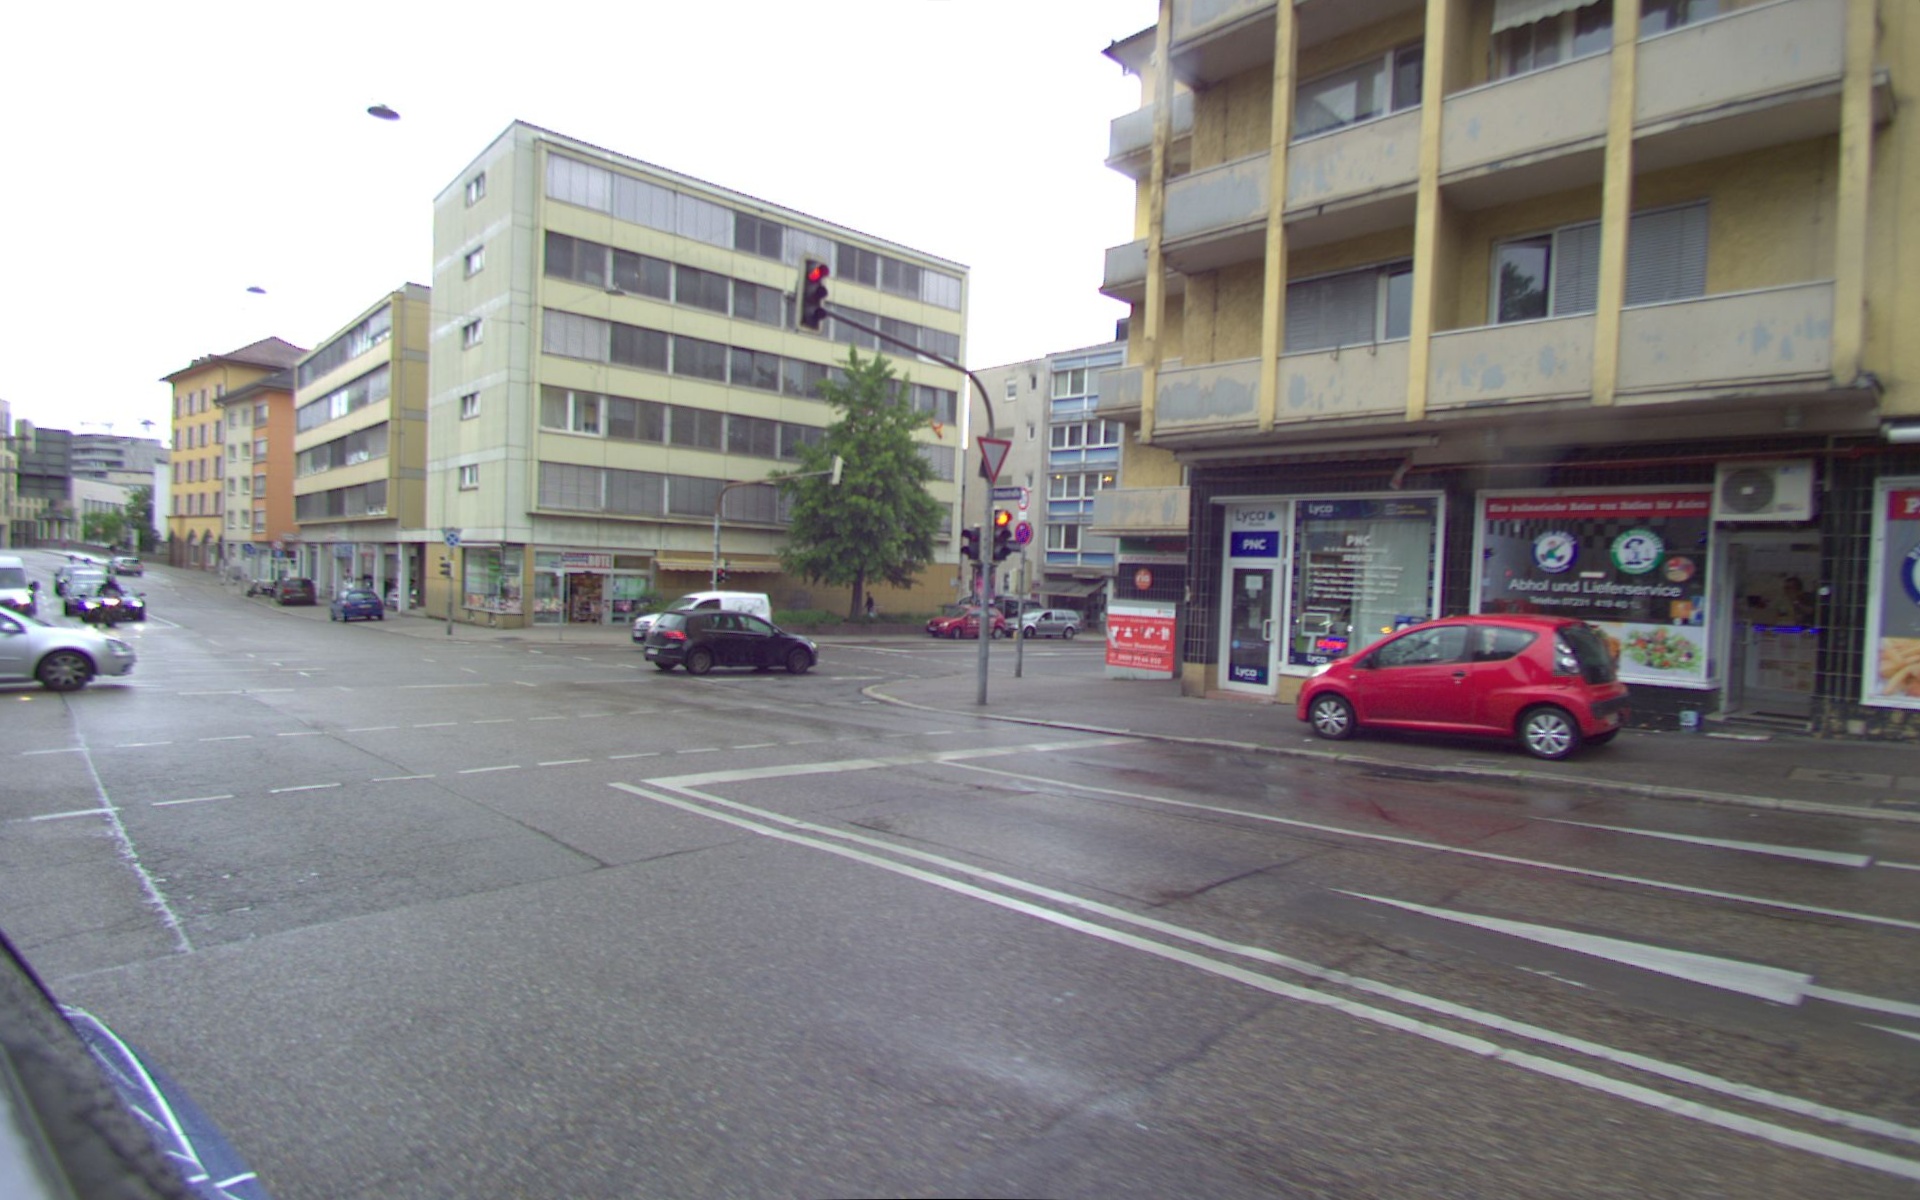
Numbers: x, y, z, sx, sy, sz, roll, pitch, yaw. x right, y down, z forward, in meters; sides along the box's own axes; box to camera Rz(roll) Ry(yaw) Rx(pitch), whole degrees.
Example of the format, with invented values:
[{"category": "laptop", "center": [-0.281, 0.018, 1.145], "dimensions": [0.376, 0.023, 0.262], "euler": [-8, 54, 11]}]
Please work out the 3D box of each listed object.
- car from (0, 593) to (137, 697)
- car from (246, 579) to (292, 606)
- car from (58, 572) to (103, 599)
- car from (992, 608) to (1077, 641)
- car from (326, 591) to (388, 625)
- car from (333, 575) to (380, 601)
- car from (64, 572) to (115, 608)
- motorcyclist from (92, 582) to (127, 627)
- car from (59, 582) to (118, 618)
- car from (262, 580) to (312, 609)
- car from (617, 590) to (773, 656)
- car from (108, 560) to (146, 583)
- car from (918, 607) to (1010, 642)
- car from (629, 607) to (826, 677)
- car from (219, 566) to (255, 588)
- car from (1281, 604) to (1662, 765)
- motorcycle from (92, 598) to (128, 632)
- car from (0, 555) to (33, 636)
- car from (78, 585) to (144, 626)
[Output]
[{"category": "car", "center": [-14.608, 0.626, 14.714], "dimensions": [3.975, 1.435, 1.690], "euler": [1, 1, -43]}, {"category": "car", "center": [-43.726, -0.478, 64.037], "dimensions": [1.822, 1.578, 4.375], "euler": [-3, 3, -41]}, {"category": "car", "center": [-50.367, -0.852, 57.951], "dimensions": [1.822, 1.430, 3.574], "euler": [-3, 3, -41]}, {"category": "car", "center": [3.609, 1.162, 48.568], "dimensions": [3.828, 1.437, 1.729], "euler": [1, 2, -38]}, {"category": "car", "center": [-27.942, 0.342, 46.860], "dimensions": [1.822, 1.430, 3.574], "euler": [-3, 3, -41]}, {"category": "car", "center": [-39.786, -0.801, 66.695], "dimensions": [1.822, 1.578, 4.374], "euler": [-3, 3, -42]}, {"category": "car", "center": [-43.826, -0.528, 50.935], "dimensions": [1.822, 1.727, 3.574], "euler": [-3, 2, -41]}, {"category": "motorcyclist", "center": [-29.096, 0.147, 34.627], "dimensions": [0.866, 1.490, 0.797], "euler": [1, 0, -42]}, {"category": "car", "center": [-37.743, -0.043, 43.826], "dimensions": [1.822, 1.430, 3.574], "euler": [-3, 3, -41]}, {"category": "car", "center": [-39.886, -0.337, 59.958], "dimensions": [1.822, 1.578, 4.375], "euler": [-3, 3, -41]}, {"category": "car", "center": [-8.069, 0.696, 31.036], "dimensions": [4.164, 1.869, 1.995], "euler": [1, 0, -41]}, {"category": "car", "center": [-68.651, -2.360, 83.423], "dimensions": [4.370, 1.721, 1.824], "euler": [4, 2, 43]}, {"category": "car", "center": [0.200, 1.096, 45.682], "dimensions": [3.828, 1.437, 1.729], "euler": [1, 2, -38]}, {"category": "car", "center": [-5.301, 0.955, 23.386], "dimensions": [4.103, 1.435, 1.690], "euler": [3, -1, -43]}, {"category": "car", "center": [-56.702, -1.796, 79.380], "dimensions": [1.822, 1.578, 4.375], "euler": [-3, 3, -41]}, {"category": "car", "center": [5.676, 0.817, 11.502], "dimensions": [1.591, 1.475, 3.537], "euler": [-3, 1, -43]}, {"category": "motorcycle", "center": [-29.105, 0.514, 34.627], "dimensions": [0.866, 1.108, 1.802], "euler": [1, 0, -42]}, {"category": "car", "center": [-32.471, -0.156, 33.686], "dimensions": [2.198, 2.543, 5.478], "euler": [-2, 2, -41]}, {"category": "car", "center": [-32.624, 0.170, 38.856], "dimensions": [1.822, 1.430, 3.574], "euler": [-3, 3, -41]}]
